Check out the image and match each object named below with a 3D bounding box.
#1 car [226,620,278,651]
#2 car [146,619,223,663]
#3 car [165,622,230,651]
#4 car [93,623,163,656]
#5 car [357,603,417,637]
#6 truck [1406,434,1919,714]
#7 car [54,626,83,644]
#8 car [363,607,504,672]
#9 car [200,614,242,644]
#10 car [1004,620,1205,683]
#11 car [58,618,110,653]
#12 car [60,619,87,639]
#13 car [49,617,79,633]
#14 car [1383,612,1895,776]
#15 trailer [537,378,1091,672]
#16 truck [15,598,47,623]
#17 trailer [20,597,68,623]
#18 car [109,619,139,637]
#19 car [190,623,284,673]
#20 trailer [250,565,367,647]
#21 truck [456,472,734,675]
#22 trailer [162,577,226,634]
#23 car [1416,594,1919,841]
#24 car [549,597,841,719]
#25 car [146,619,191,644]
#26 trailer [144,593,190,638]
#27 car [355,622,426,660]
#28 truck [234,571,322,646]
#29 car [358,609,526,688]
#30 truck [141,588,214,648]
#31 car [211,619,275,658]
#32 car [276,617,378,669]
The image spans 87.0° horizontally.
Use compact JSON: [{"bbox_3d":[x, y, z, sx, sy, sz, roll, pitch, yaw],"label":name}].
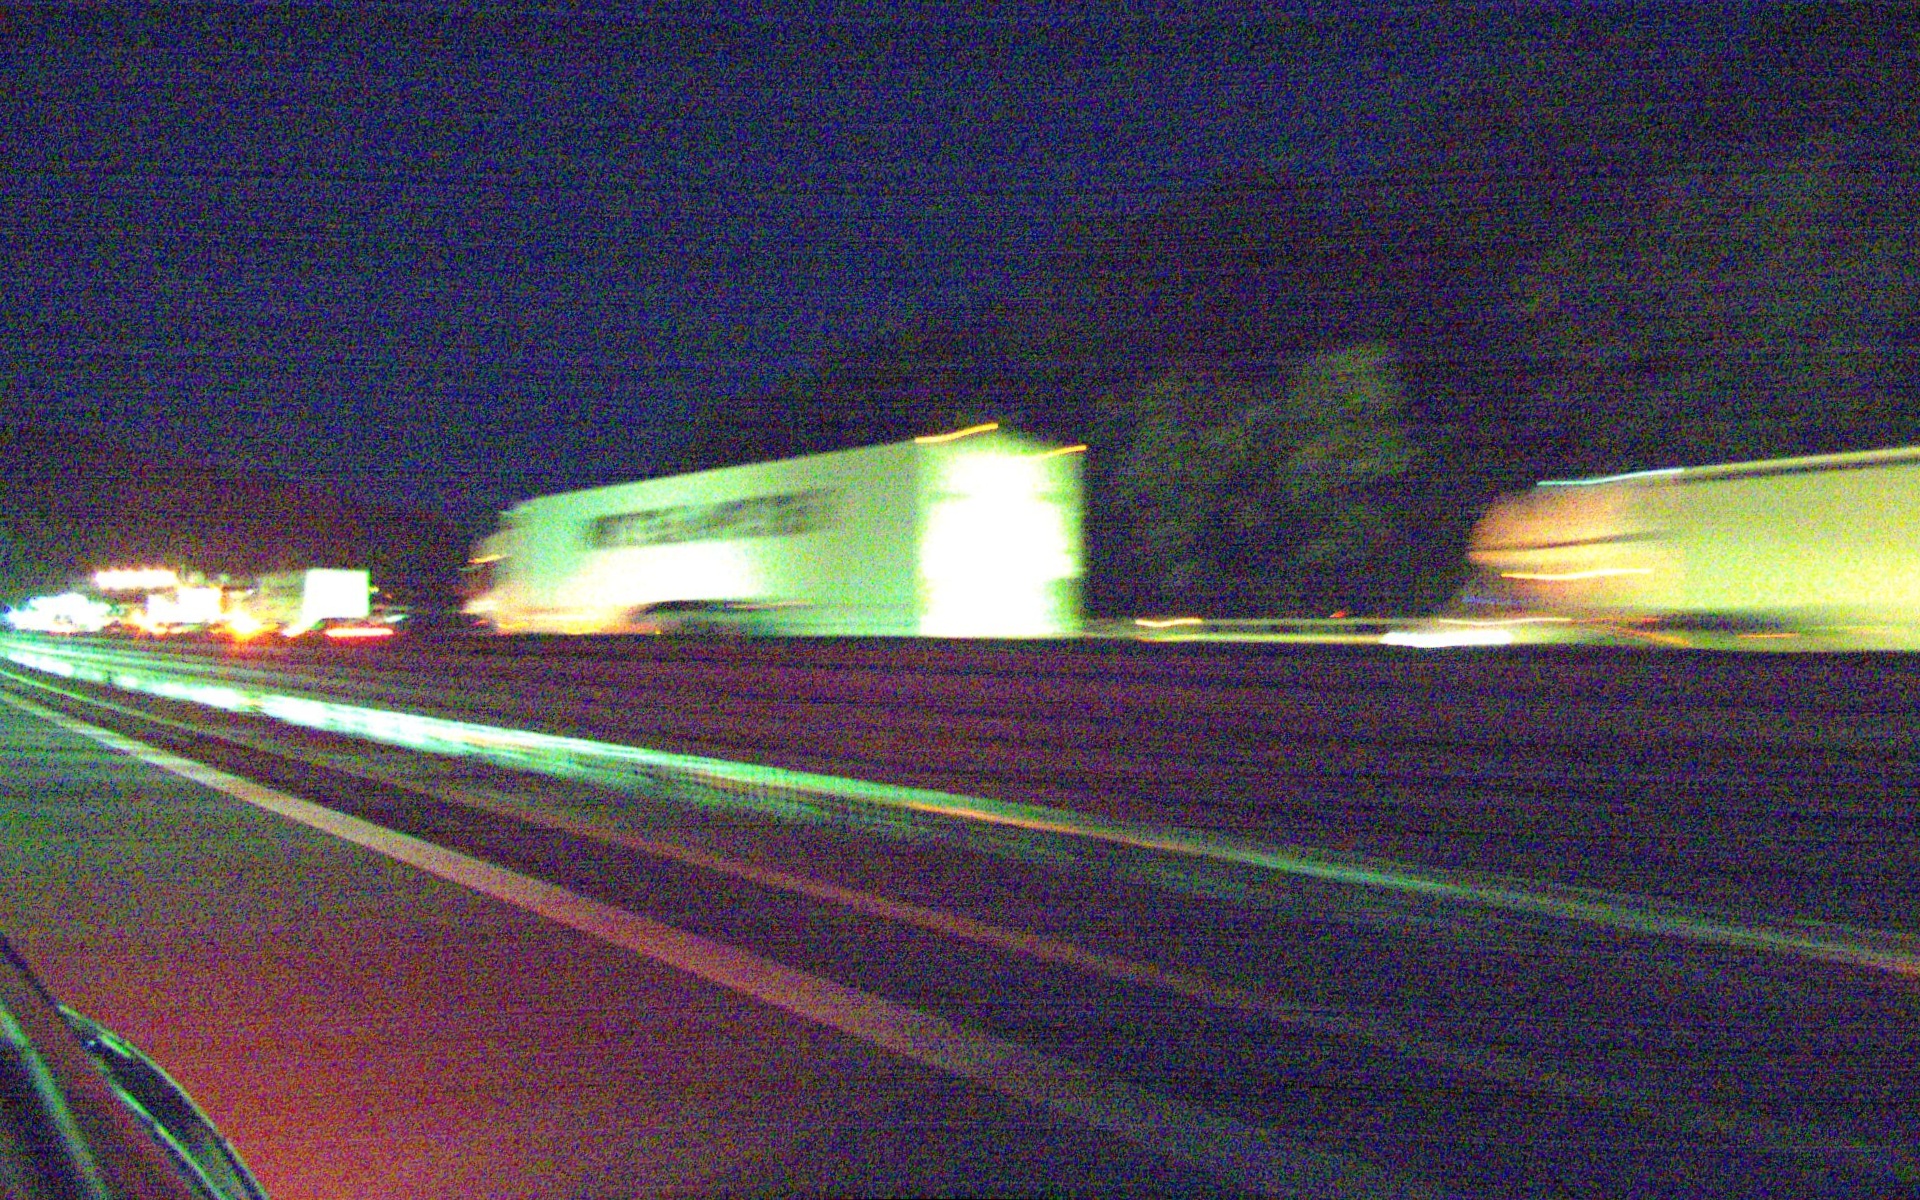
[{"bbox_3d":[-43.502,2.138,62.149,1.970,1.824,4.323,1,-2,-44],"label":"car"},{"bbox_3d":[-29.403,1.501,38.318,1.812,1.565,4.516,1,-2,-44],"label":"car"},{"bbox_3d":[-39.782,1.864,52.745,4.650,1.454,1.926,-1,-2,43],"label":"car"},{"bbox_3d":[-37.982,1.763,46.164,4.650,1.454,1.891,-1,-2,43],"label":"car"},{"bbox_3d":[-32.006,1.108,56.479,3.836,1.732,1.702,0,3,41],"label":"car"},{"bbox_3d":[10.191,-0.272,12.517,8.168,2.981,2.531,-1,0,41],"label":"truck"},{"bbox_3d":[-80.268,3.110,91.075,1.881,1.503,4.873,1,-1,-42],"label":"car"},{"bbox_3d":[-16.193,1.166,30.982,5.483,1.824,1.973,-1,-2,41],"label":"car"},{"bbox_3d":[-51.668,1.984,70.721,1.881,1.900,5.027,-1,1,-42],"label":"car"},{"bbox_3d":[3.334,1.162,23.911,4.571,1.364,1.555,-1,-1,39],"label":"car"},{"bbox_3d":[-49.786,2.014,57.469,1.854,1.937,5.607,1,-2,-45],"label":"car"},{"bbox_3d":[-72.274,2.357,82.533,1.606,1.503,4.874,0,0,-41],"label":"car"},{"bbox_3d":[-89.712,2.484,101.350,1.879,1.503,4.877,0,-1,-38],"label":"car"},{"bbox_3d":[6.759,0.818,10.413,4.160,1.325,1.553,-1,0,43],"label":"car"},{"bbox_3d":[-3.591,-1.135,19.435,12.443,4.118,3.059,0,3,41],"label":"trailer"},{"bbox_3d":[-151.301,1.723,164.855,2.853,4.002,4.012,-1,1,-30],"label":"truck"},{"bbox_3d":[-155.432,1.601,171.998,2.793,4.004,15.813,-1,1,-30],"label":"trailer"},{"bbox_3d":[-71.254,2.373,86.267,1.880,1.503,4.875,1,-1,-41],"label":"car"},{"bbox_3d":[-22.532,1.447,31.468,1.683,1.437,4.515,1,-1,-45],"label":"car"},{"bbox_3d":[-33.852,0.429,52.391,8.735,3.947,2.790,-2,-3,41],"label":"trailer"},{"bbox_3d":[-8.837,-0.629,24.075,7.074,4.127,3.076,0,3,42],"label":"truck"},{"bbox_3d":[-65.996,0.551,86.979,2.805,4.498,14.537,2,-2,-43],"label":"trailer"},{"bbox_3d":[5.367,0.663,6.690,4.000,1.364,1.553,-1,0,43],"label":"car"},{"bbox_3d":[-3.883,0.736,14.348,4.512,1.437,1.854,-1,0,43],"label":"car"},{"bbox_3d":[-46.340,1.821,59.217,1.609,1.360,4.002,1,-1,-45],"label":"car"},{"bbox_3d":[-79.790,1.633,101.679,2.840,4.216,14.542,1,-2,-41],"label":"trailer"},{"bbox_3d":[-24.201,1.702,42.926,1.523,1.501,4.516,1,-2,-44],"label":"car"},{"bbox_3d":[-37.539,0.534,55.666,4.932,3.946,2.798,-2,-3,41],"label":"truck"},{"bbox_3d":[-11.217,0.986,21.766,4.514,1.437,1.823,-1,1,44],"label":"car"},{"bbox_3d":[-67.670,1.555,87.502,5.962,4.262,2.609,-1,30,46],"label":"truck"},{"bbox_3d":[-31.366,1.667,44.246,4.509,1.608,1.203,-2,-2,41],"label":"car"},{"bbox_3d":[-23.621,1.554,37.689,4.747,1.824,1.972,-1,-2,42],"label":"car"}]
